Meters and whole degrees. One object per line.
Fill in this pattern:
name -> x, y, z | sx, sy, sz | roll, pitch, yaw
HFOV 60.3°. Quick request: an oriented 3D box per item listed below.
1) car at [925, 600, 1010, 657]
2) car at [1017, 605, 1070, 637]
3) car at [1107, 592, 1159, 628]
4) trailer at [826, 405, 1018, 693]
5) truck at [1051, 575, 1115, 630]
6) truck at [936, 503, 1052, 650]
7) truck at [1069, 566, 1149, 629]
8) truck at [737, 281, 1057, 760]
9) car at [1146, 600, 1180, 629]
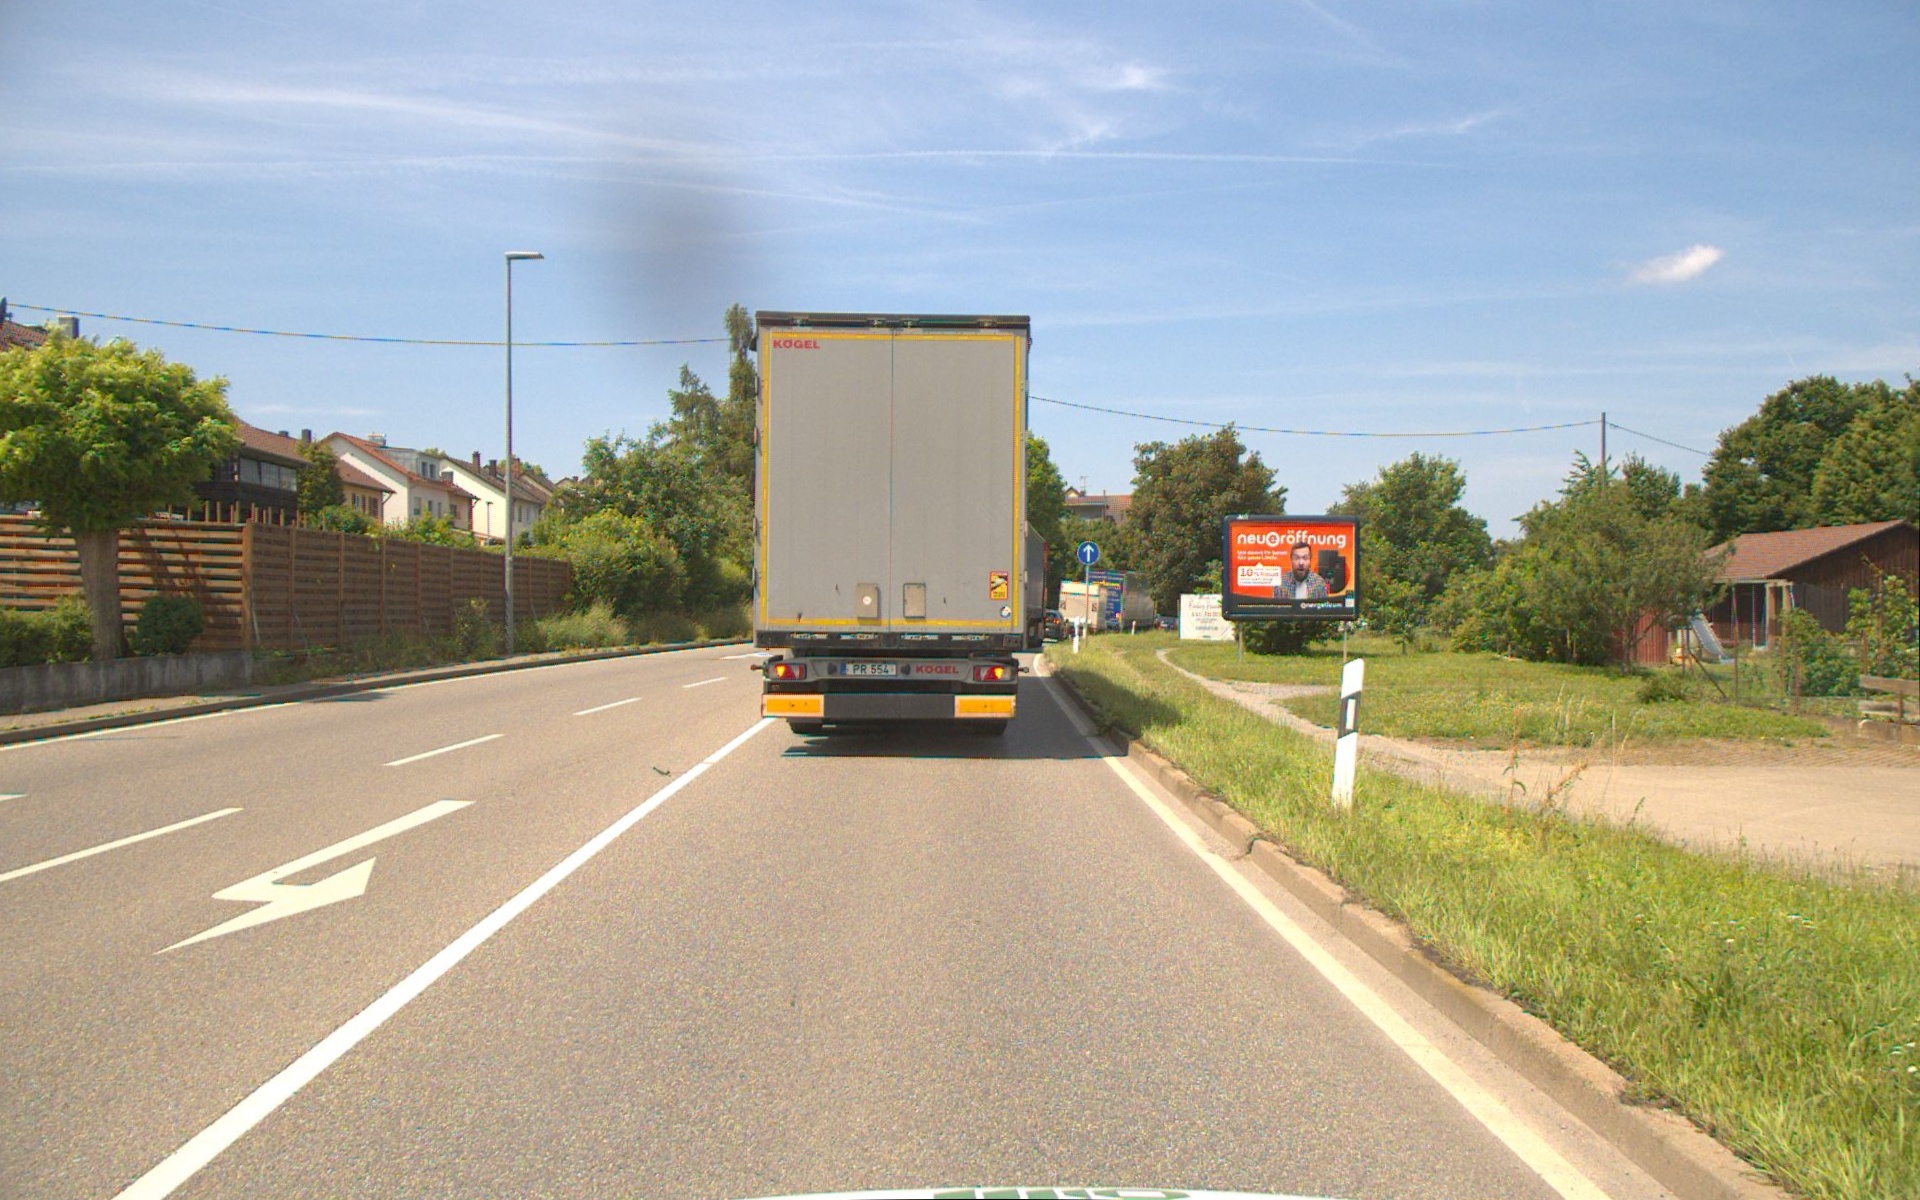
car -> 0.241, 0.743, 43.108 | 1.780, 1.370, 3.850 | 1, -1, 7
car -> 3.963, 1.002, 77.805 | 1.951, 1.400, 4.003 | 1, -1, 11
car -> 11.556, 0.640, 109.820 | 2.478, 2.317, 6.386 | 1, 0, 15
trailer -> -0.564, -0.761, 27.529 | 2.767, 4.183, 6.543 | 1, 0, 0
truck -> 6.747, 0.191, 89.888 | 2.489, 2.852, 6.036 | 1, -1, 13
truck -> 1.483, -0.577, 57.850 | 2.702, 4.364, 16.425 | 1, -1, 6
truck -> 9.246, -0.174, 101.524 | 3.360, 3.667, 9.361 | 1, 0, 14
truck -> -0.566, -0.731, 20.434 | 2.764, 4.200, 11.443 | 1, 0, 0
car -> 15.157, 1.104, 123.217 | 1.951, 2.049, 4.003 | 1, -1, 15
